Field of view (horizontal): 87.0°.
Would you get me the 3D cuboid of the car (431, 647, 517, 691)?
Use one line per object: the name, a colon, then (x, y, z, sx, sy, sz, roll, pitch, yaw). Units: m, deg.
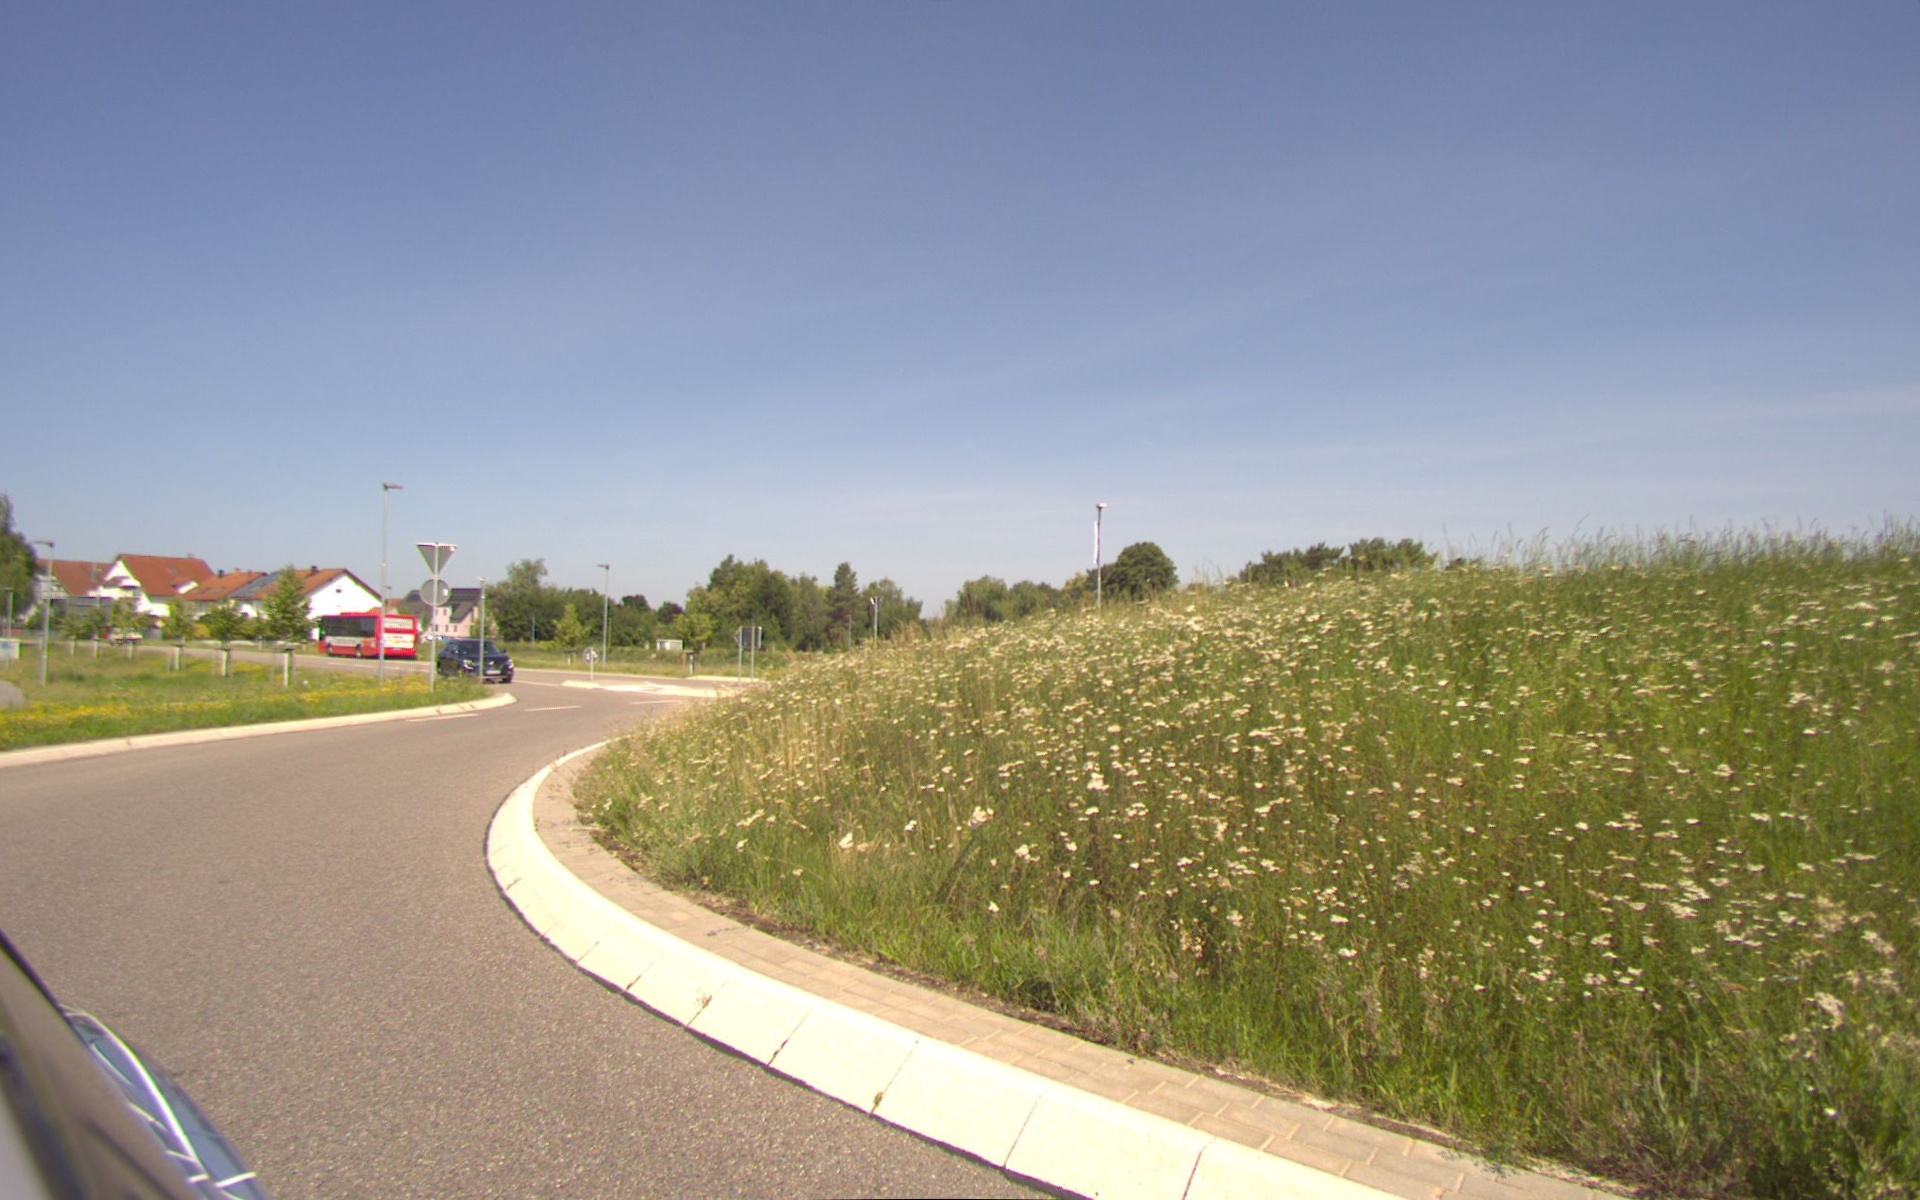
car: (-18.626, 2.610, 38.716, 1.905, 1.573, 4.005, 3, -4, -42)

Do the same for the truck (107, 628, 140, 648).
truck: (-90.071, 4.088, 108.982, 5.642, 2.000, 1.931, -2, -2, 42)

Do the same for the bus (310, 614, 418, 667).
bus: (-41.449, 2.831, 70.121, 12.226, 3.312, 2.764, -2, -6, 42)
